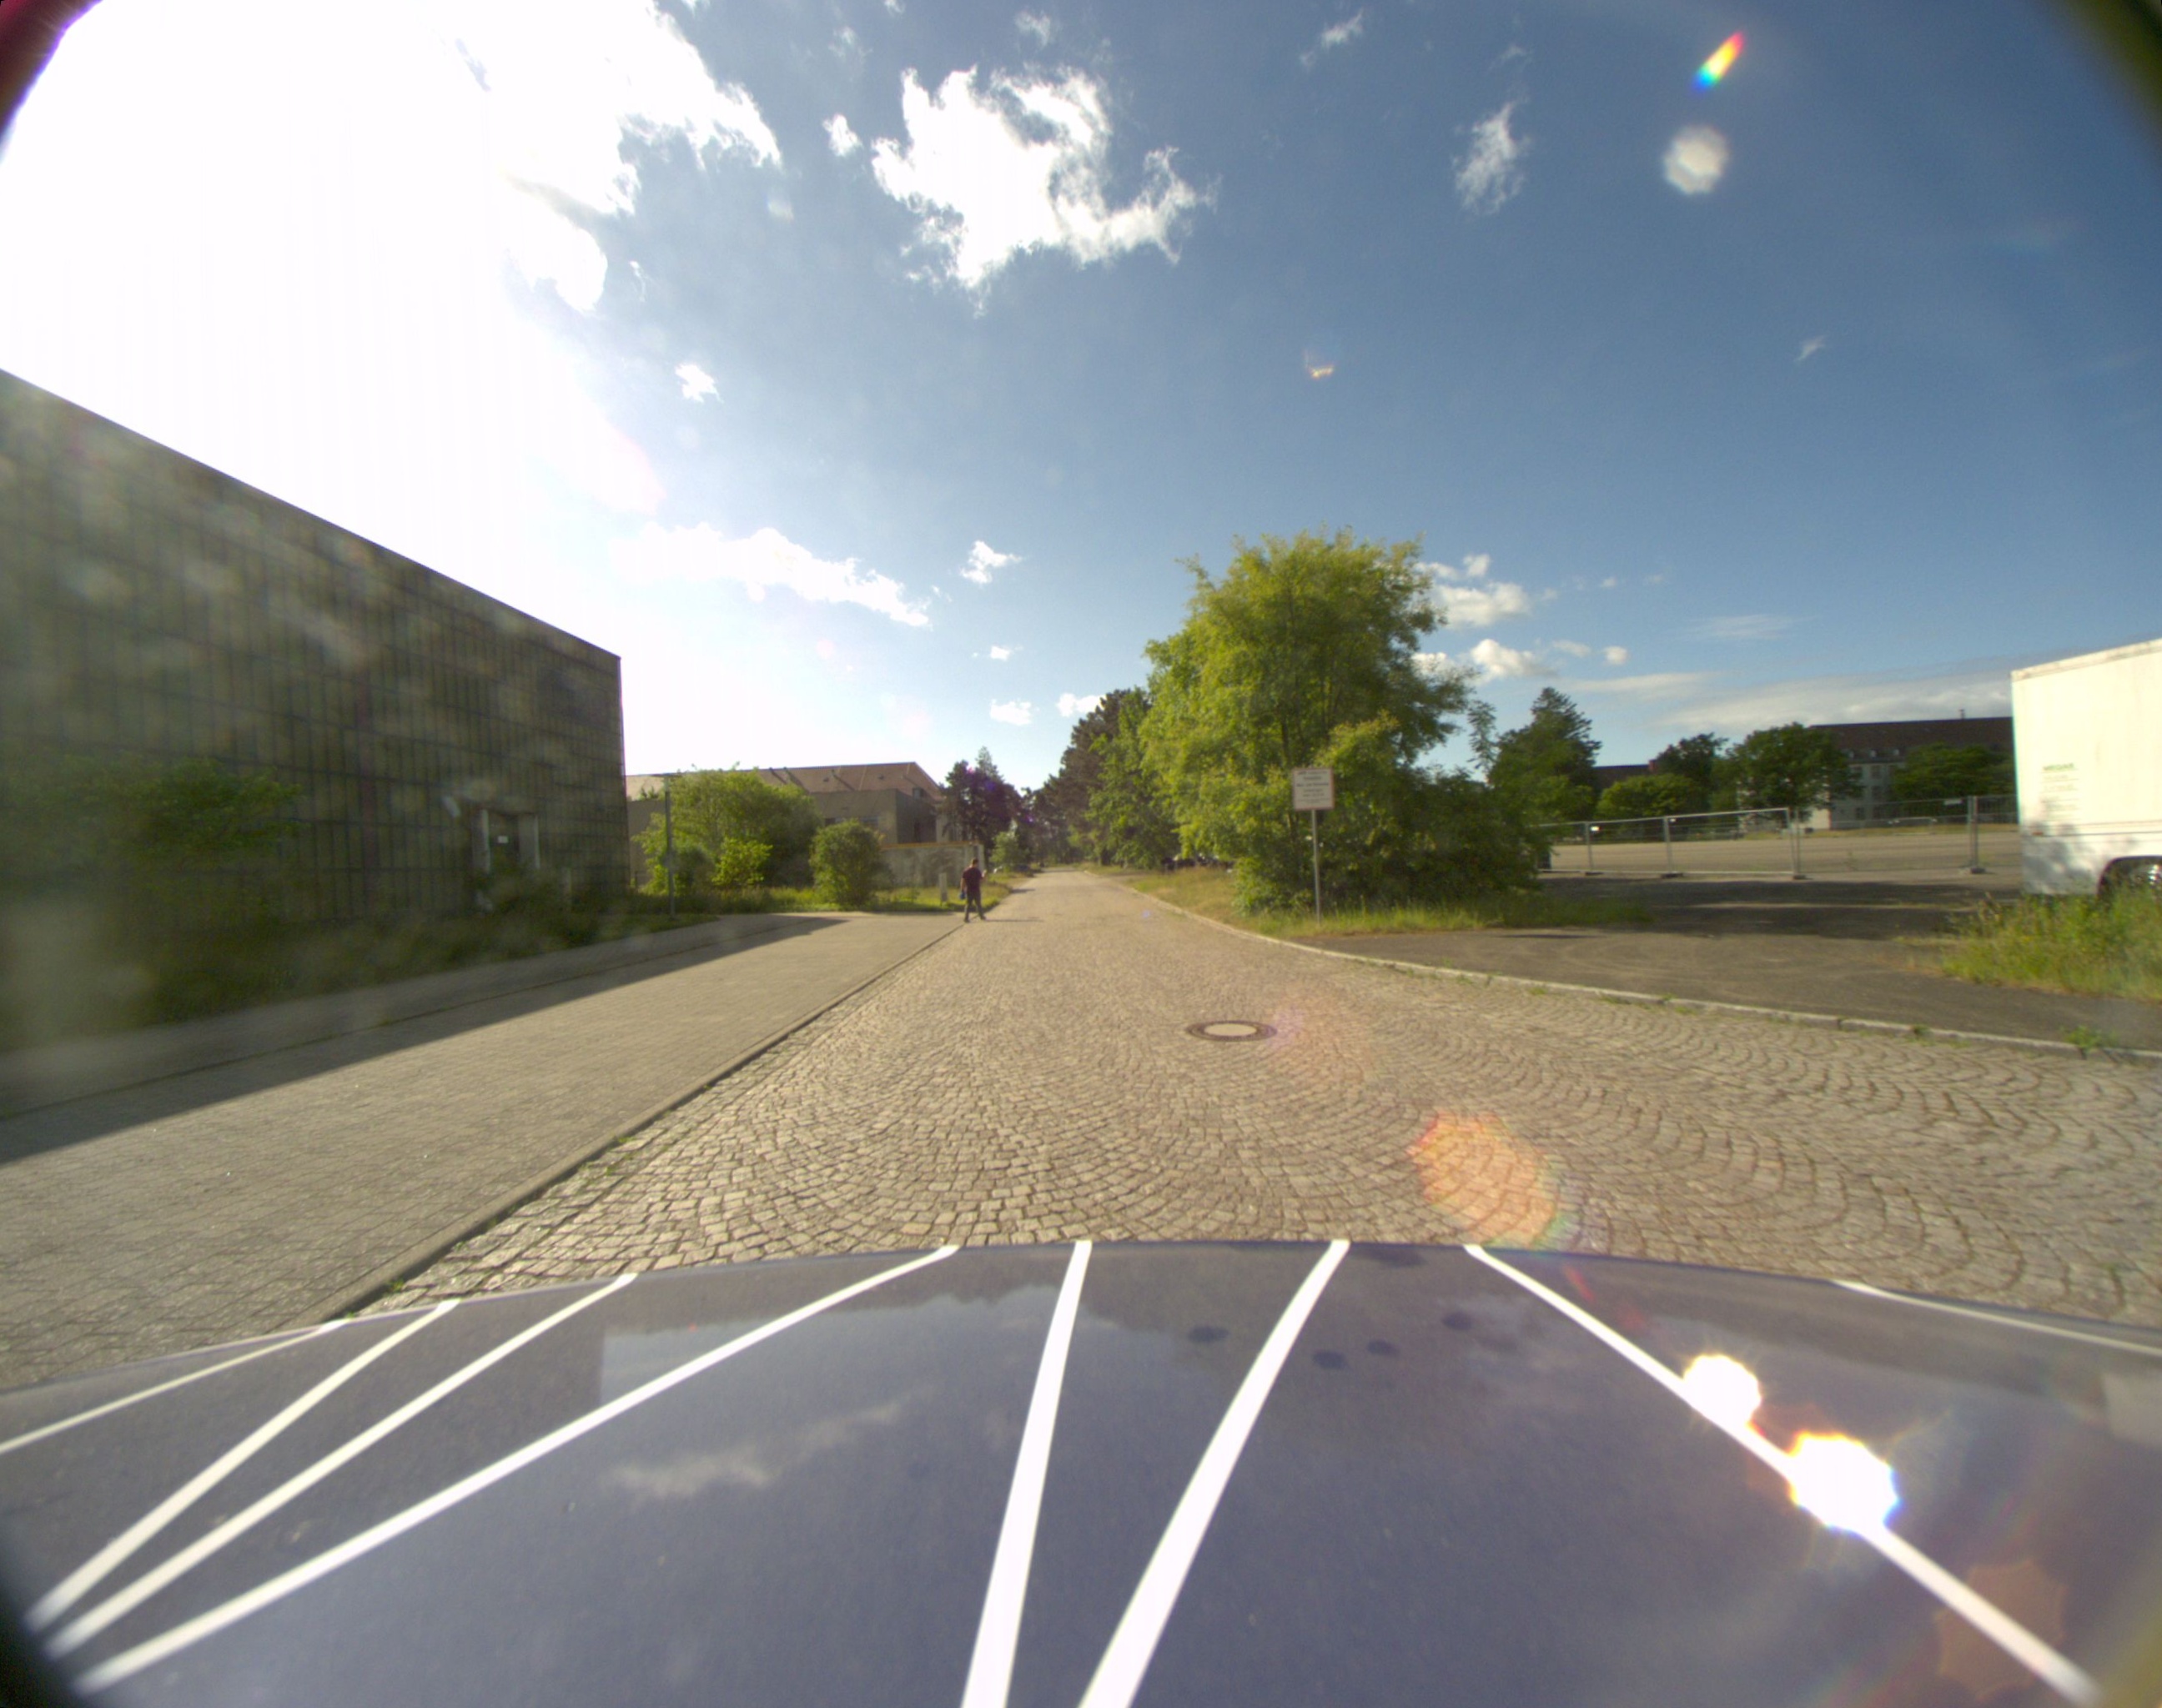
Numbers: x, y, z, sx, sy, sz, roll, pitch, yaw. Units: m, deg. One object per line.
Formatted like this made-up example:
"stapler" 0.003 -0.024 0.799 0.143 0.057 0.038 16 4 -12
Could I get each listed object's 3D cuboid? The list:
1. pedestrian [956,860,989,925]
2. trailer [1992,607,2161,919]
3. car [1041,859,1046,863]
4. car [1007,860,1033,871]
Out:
"pedestrian" -3.055 1.056 21.506 0.797 1.770 1.068 -1 0 -3
"trailer" 14.856 -1.195 5.776 2.779 3.888 10.886 -3 0 1
"car" -10.195 1.940 207.754 1.373 1.092 2.862 -3 0 -4
"car" -7.405 1.405 92.427 2.912 1.252 1.287 -3 0 -10
